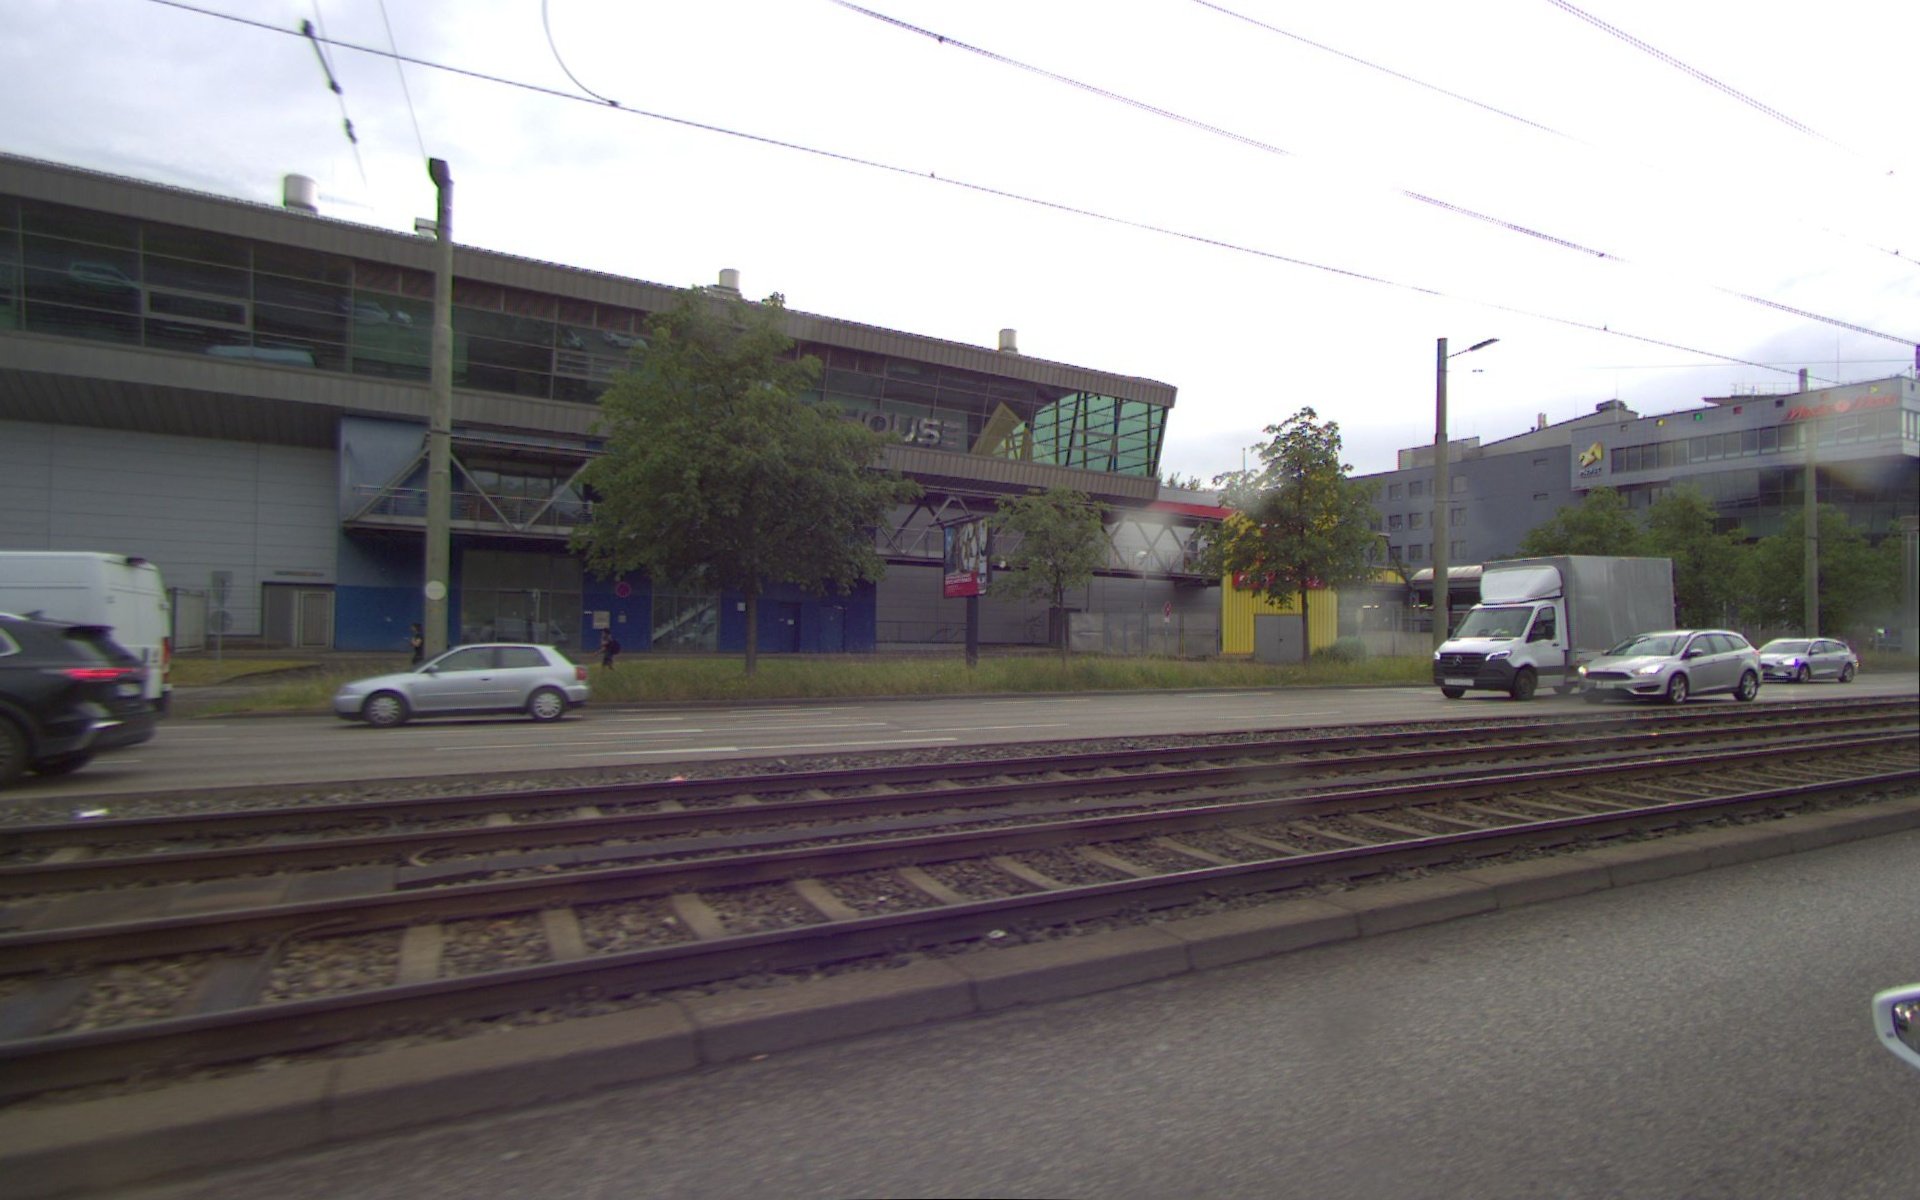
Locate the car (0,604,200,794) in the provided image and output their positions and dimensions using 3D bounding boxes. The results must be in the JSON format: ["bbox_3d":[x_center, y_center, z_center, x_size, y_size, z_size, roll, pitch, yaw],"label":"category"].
[{"bbox_3d":[-9.920,0.917,9.241,4.301,1.678,1.904,1,-3,-25],"label":"car"}]

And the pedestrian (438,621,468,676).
[{"bbox_3d":[-14.030,1.338,27.815,0.647,1.475,0.447,1,1,-38],"label":"pedestrian"}]

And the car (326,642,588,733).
[{"bbox_3d":[-8.689,1.487,17.718,3.942,1.418,1.745,0,-3,-23],"label":"car"}]

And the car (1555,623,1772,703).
[{"bbox_3d":[14.706,1.278,20.979,4.383,1.518,1.800,1,-4,-27],"label":"car"}]

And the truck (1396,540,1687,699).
[{"bbox_3d":[14.193,0.525,24.425,7.062,3.401,2.717,1,-3,-28],"label":"truck"}]

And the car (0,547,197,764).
[{"bbox_3d":[-13.539,0.686,12.082,6.452,2.533,2.429,0,-3,-22],"label":"car"}]

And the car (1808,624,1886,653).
[{"bbox_3d":[65.744,2.838,74.506,1.979,2.040,3.963,1,-2,-34],"label":"car"}]

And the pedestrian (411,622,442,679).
[{"bbox_3d":[-14.303,1.339,26.911,0.647,1.475,0.507,1,1,-38],"label":"pedestrian"}]

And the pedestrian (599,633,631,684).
[{"bbox_3d":[-10.073,1.698,29.301,0.737,1.458,0.604,1,1,-32],"label":"pedestrian"}]

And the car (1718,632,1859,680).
[{"bbox_3d":[27.520,1.820,33.366,4.362,1.508,1.893,1,-2,-24],"label":"car"}]
